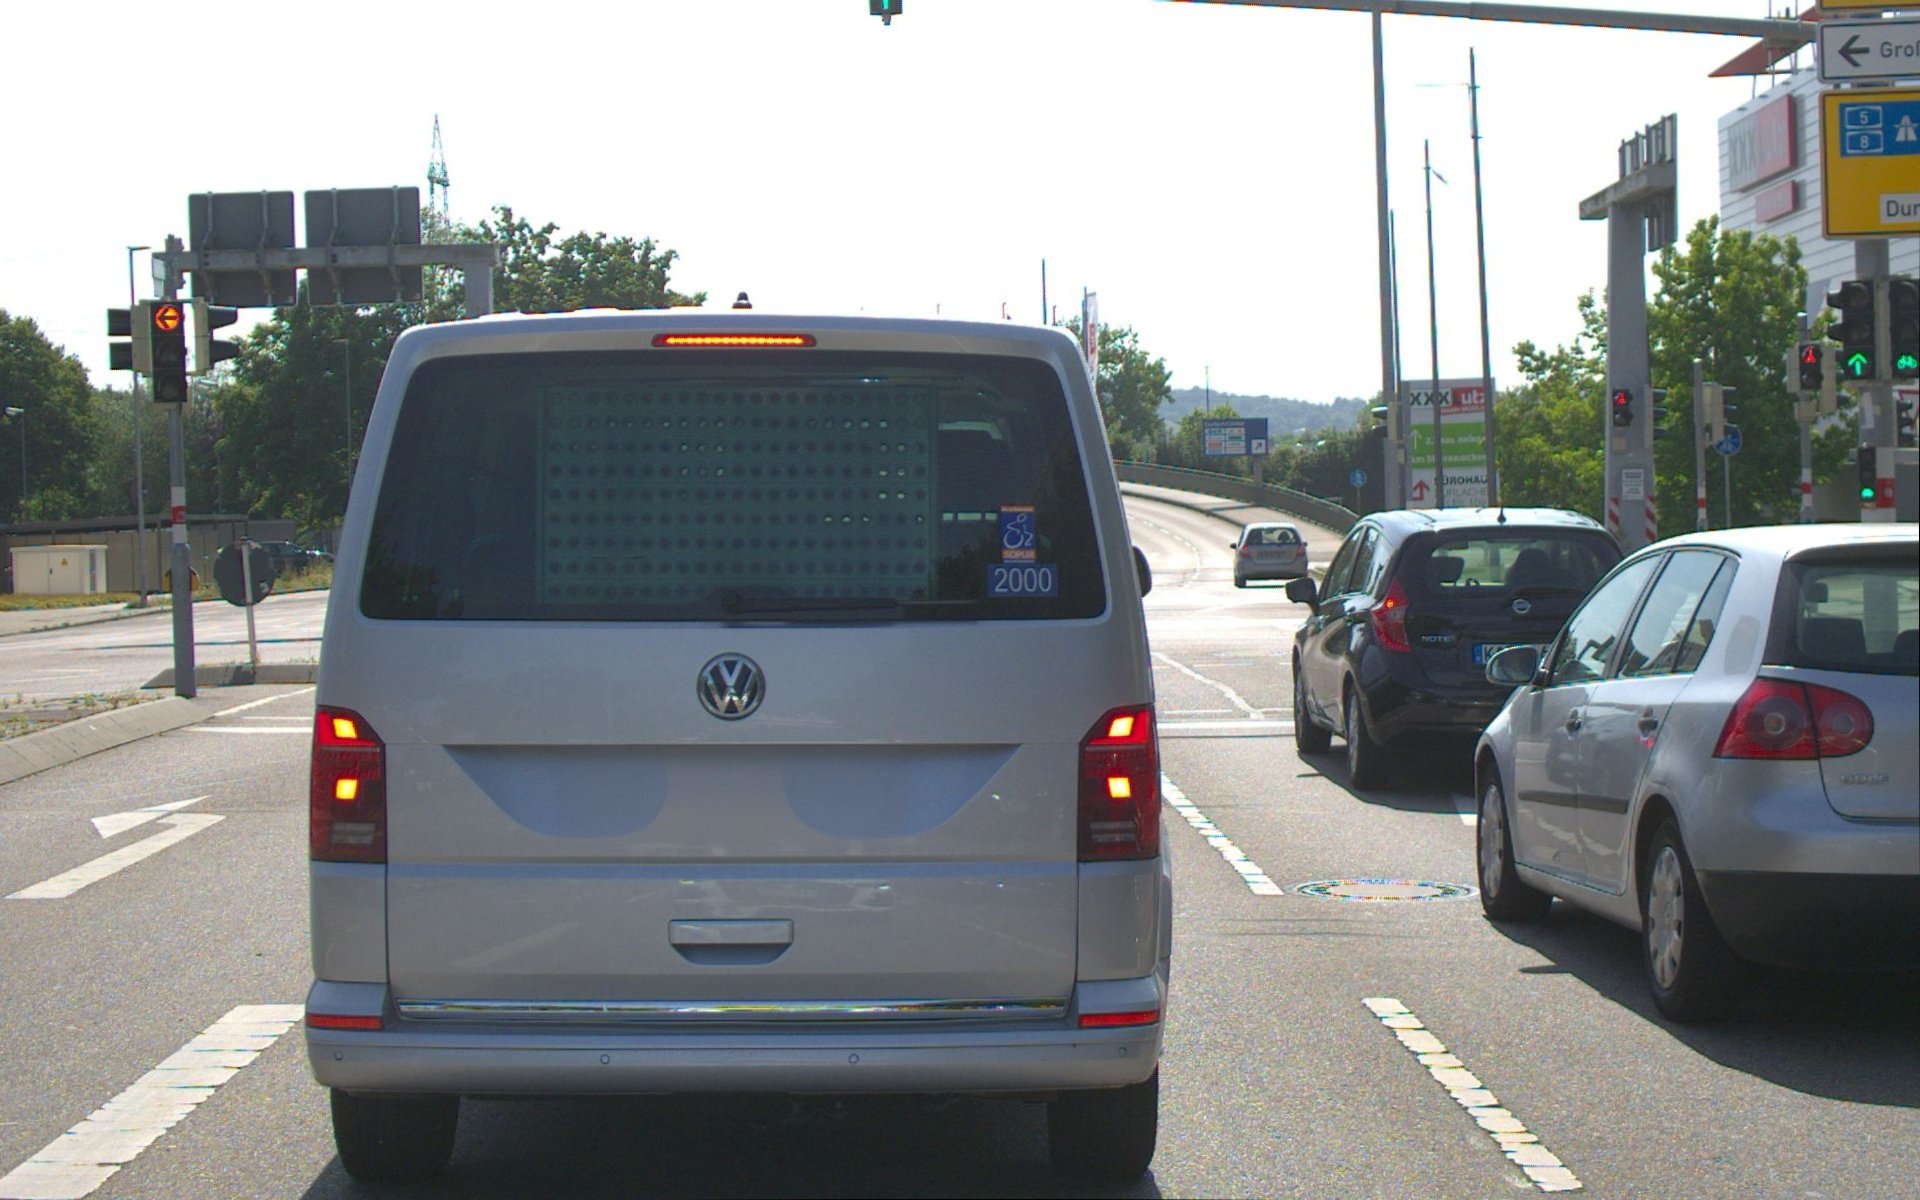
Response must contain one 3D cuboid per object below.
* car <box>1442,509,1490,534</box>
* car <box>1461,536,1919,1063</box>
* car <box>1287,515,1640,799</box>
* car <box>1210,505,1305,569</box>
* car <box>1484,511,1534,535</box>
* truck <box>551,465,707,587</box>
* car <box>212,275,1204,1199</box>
[{"bbox_3d":[32.154,-4.954,218.555,1.883,1.514,4.001,1,1,-9],"label":"car"},{"bbox_3d":[2.798,0.511,11.260,1.666,1.409,3.683,0,1,-2],"label":"car"},{"bbox_3d":[2.798,0.256,19.737,1.531,1.474,3.596,0,1,1],"label":"car"},{"bbox_3d":[7.050,-1.503,81.773,1.530,1.433,3.248,-2,1,-8],"label":"car"},{"bbox_3d":[34.872,-4.896,218.591,1.993,1.415,4.001,1,1,-9],"label":"car"},{"bbox_3d":[-10.519,-2.410,110.091,2.748,3.667,7.576,-2,1,11],"label":"truck"},{"bbox_3d":[-0.516,0.301,8.823,1.917,1.968,4.297,0,1,-1],"label":"car"}]
